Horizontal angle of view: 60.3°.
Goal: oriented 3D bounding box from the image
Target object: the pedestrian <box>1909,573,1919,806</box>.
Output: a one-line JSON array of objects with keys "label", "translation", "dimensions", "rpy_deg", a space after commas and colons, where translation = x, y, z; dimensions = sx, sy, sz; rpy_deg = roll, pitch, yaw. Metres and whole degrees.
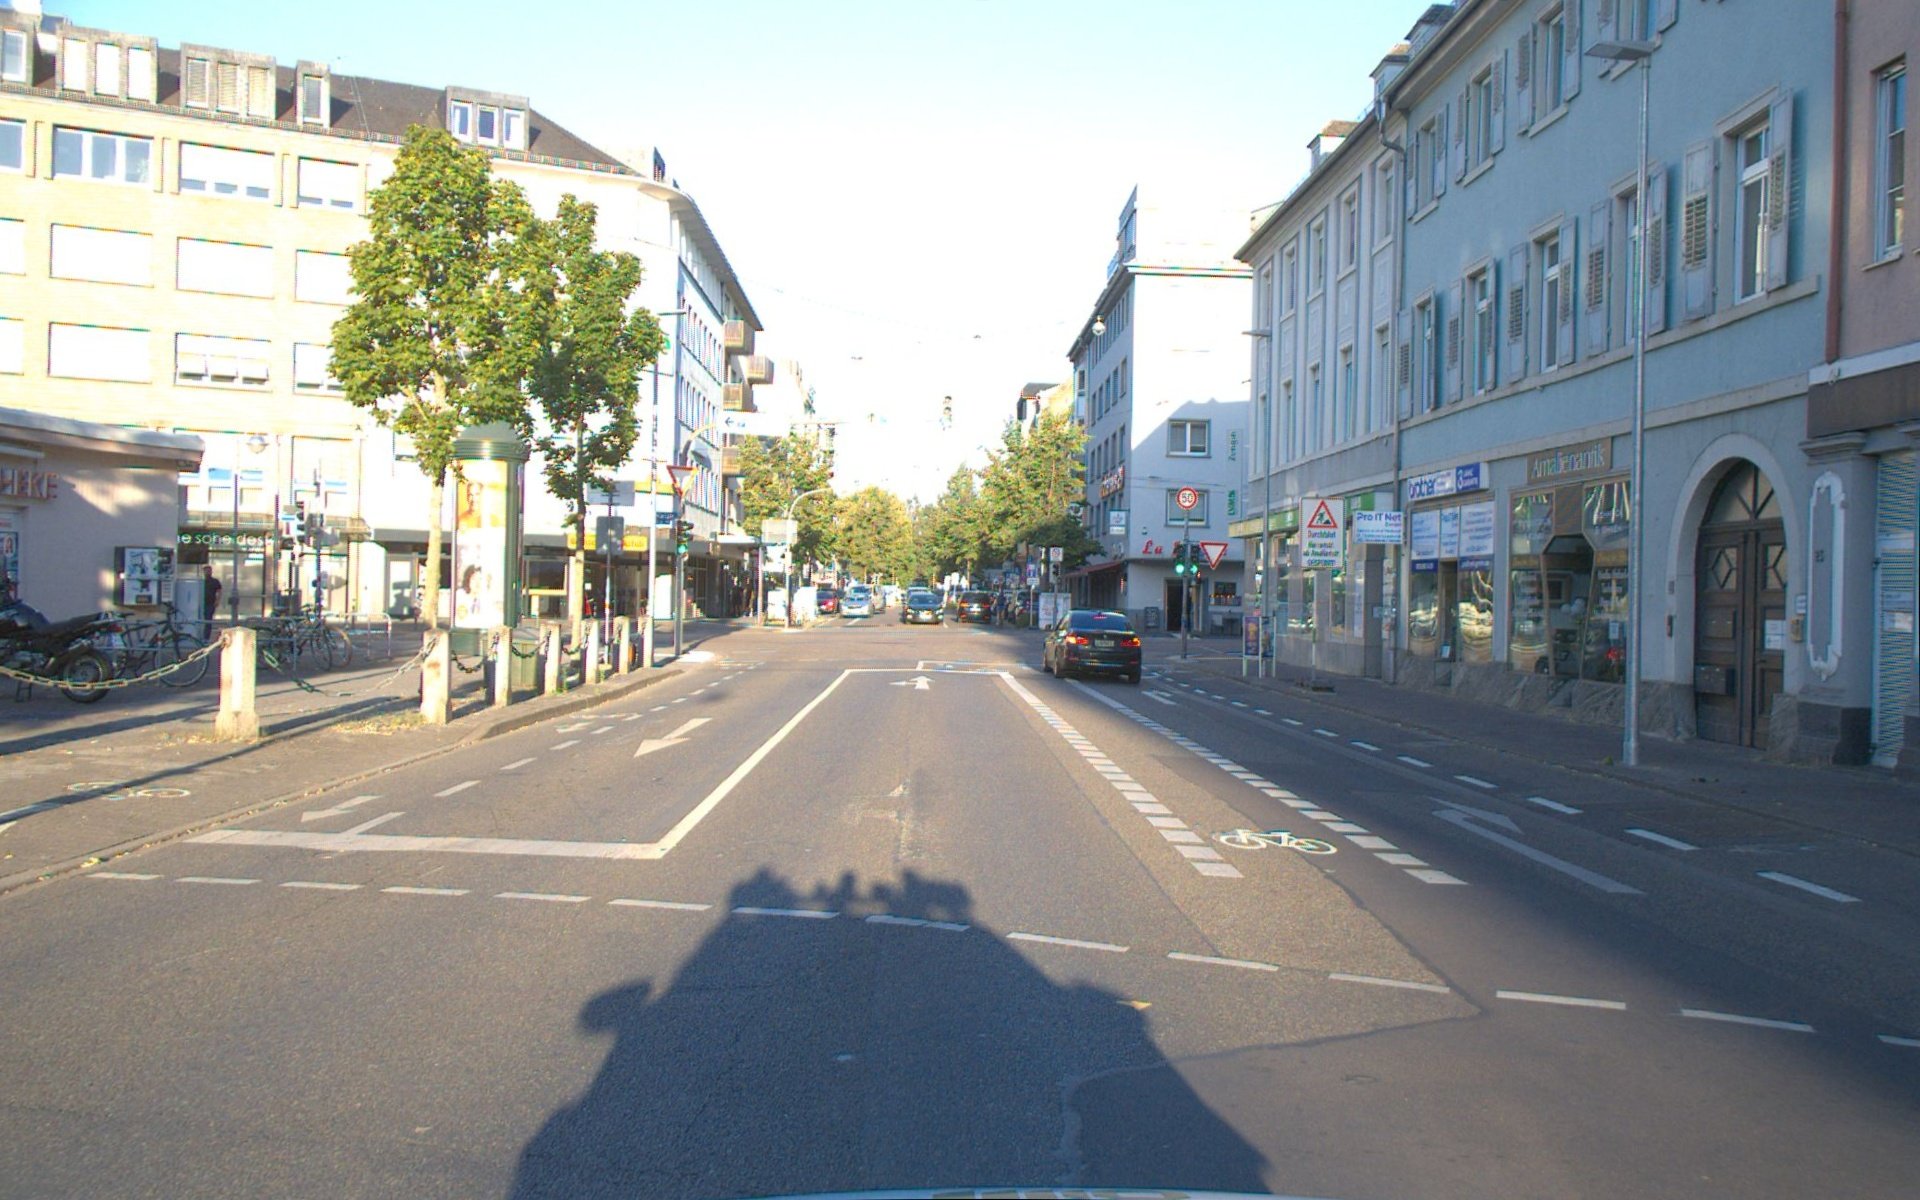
[{"label": "pedestrian", "translation": [7.867, 0.710, 12.447], "dimensions": [0.742, 1.808, 1.047], "rpy_deg": [2, 0, -6]}]

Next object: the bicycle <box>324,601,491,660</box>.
[{"label": "bicycle", "translation": [-10.571, 0.567, 31.696], "dimensions": [2.881, 1.040, 0.843], "rpy_deg": [1, 0, 1]}]

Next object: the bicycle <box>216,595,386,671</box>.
[{"label": "bicycle", "translation": [-10.824, 0.535, 27.241], "dimensions": [2.473, 1.166, 0.700], "rpy_deg": [1, 0, -4]}]

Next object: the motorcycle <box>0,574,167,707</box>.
[{"label": "motorcycle", "translation": [-10.630, 0.441, 19.109], "dimensions": [2.364, 1.451, 1.112], "rpy_deg": [1, 0, -2]}]

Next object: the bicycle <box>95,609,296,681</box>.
[{"label": "bicycle", "translation": [-10.805, 0.633, 23.444], "dimensions": [2.473, 0.935, 0.700], "rpy_deg": [1, 0, -4]}]

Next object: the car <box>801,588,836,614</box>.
[{"label": "car", "translation": [-9.136, 0.054, 106.796], "dimensions": [1.855, 1.624, 4.000], "rpy_deg": [2, 0, 0]}]

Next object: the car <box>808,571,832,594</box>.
[{"label": "car", "translation": [-13.013, -1.635, 153.891], "dimensions": [1.790, 2.049, 3.676], "rpy_deg": [2, 0, 0]}]

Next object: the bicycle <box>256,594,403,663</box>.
[{"label": "bicycle", "translation": [-11.171, 0.505, 29.363], "dimensions": [2.276, 1.150, 0.800], "rpy_deg": [1, 0, 0]}]

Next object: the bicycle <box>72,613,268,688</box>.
[{"label": "bicycle", "translation": [-10.703, 0.678, 22.454], "dimensions": [2.281, 0.935, 0.700], "rpy_deg": [1, 0, -4]}]

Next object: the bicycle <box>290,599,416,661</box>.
[{"label": "bicycle", "translation": [-11.253, 0.557, 30.711], "dimensions": [2.049, 1.082, 0.681], "rpy_deg": [1, 0, -1]}]

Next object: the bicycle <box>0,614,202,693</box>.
[{"label": "bicycle", "translation": [-11.091, 0.677, 21.102], "dimensions": [2.473, 0.935, 0.700], "rpy_deg": [1, 0, -4]}]

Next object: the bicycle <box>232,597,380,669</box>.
[{"label": "bicycle", "translation": [-11.230, 0.563, 28.445], "dimensions": [2.191, 1.155, 0.811], "rpy_deg": [1, 0, -4]}]

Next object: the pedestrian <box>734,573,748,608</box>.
[{"label": "pedestrian", "translation": [-11.376, -0.498, 85.792], "dimensions": [0.590, 1.751, 0.575], "rpy_deg": [2, 0, -15]}]

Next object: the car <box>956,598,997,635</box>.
[{"label": "car", "translation": [0.819, 0.831, 85.463], "dimensions": [1.953, 1.780, 3.999], "rpy_deg": [2, 1, -1]}]

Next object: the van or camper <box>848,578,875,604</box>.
[{"label": "van or camper", "translation": [-9.817, -0.938, 164.673], "dimensions": [2.424, 2.447, 3.996], "rpy_deg": [2, 0, -5]}]

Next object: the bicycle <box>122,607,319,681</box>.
[{"label": "bicycle", "translation": [-10.949, 0.648, 24.560], "dimensions": [2.473, 1.015, 0.933], "rpy_deg": [1, 0, -4]}]

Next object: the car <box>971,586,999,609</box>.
[{"label": "car", "translation": [1.887, -0.180, 125.786], "dimensions": [1.746, 1.624, 3.632], "rpy_deg": [2, 0, -4]}]

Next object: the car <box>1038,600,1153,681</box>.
[{"label": "car", "translation": [2.813, 0.816, 35.190], "dimensions": [1.851, 1.518, 4.202], "rpy_deg": [2, 0, -3]}]

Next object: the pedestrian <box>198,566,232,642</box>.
[{"label": "pedestrian", "translation": [-16.360, 0.087, 36.306], "dimensions": [0.543, 1.639, 0.635], "rpy_deg": [1, 0, -35]}]

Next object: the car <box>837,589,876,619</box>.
[{"label": "car", "translation": [-5.881, 0.213, 94.355], "dimensions": [1.855, 1.624, 4.000], "rpy_deg": [2, 0, 0]}]

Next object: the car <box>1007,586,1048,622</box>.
[{"label": "car", "translation": [3.635, 0.205, 89.095], "dimensions": [1.953, 1.810, 4.000], "rpy_deg": [2, 0, -1]}]

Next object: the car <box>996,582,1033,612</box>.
[{"label": "car", "translation": [3.216, -0.195, 98.334], "dimensions": [1.953, 1.645, 4.000], "rpy_deg": [2, 0, -1]}]

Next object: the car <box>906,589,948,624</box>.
[{"label": "car", "translation": [-1.565, 0.291, 78.757], "dimensions": [1.846, 1.512, 4.000], "rpy_deg": [2, 1, 0]}]

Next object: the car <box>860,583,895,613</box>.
[{"label": "car", "translation": [-5.197, -0.144, 105.172], "dimensions": [1.953, 1.780, 4.000], "rpy_deg": [2, 0, 0]}]
